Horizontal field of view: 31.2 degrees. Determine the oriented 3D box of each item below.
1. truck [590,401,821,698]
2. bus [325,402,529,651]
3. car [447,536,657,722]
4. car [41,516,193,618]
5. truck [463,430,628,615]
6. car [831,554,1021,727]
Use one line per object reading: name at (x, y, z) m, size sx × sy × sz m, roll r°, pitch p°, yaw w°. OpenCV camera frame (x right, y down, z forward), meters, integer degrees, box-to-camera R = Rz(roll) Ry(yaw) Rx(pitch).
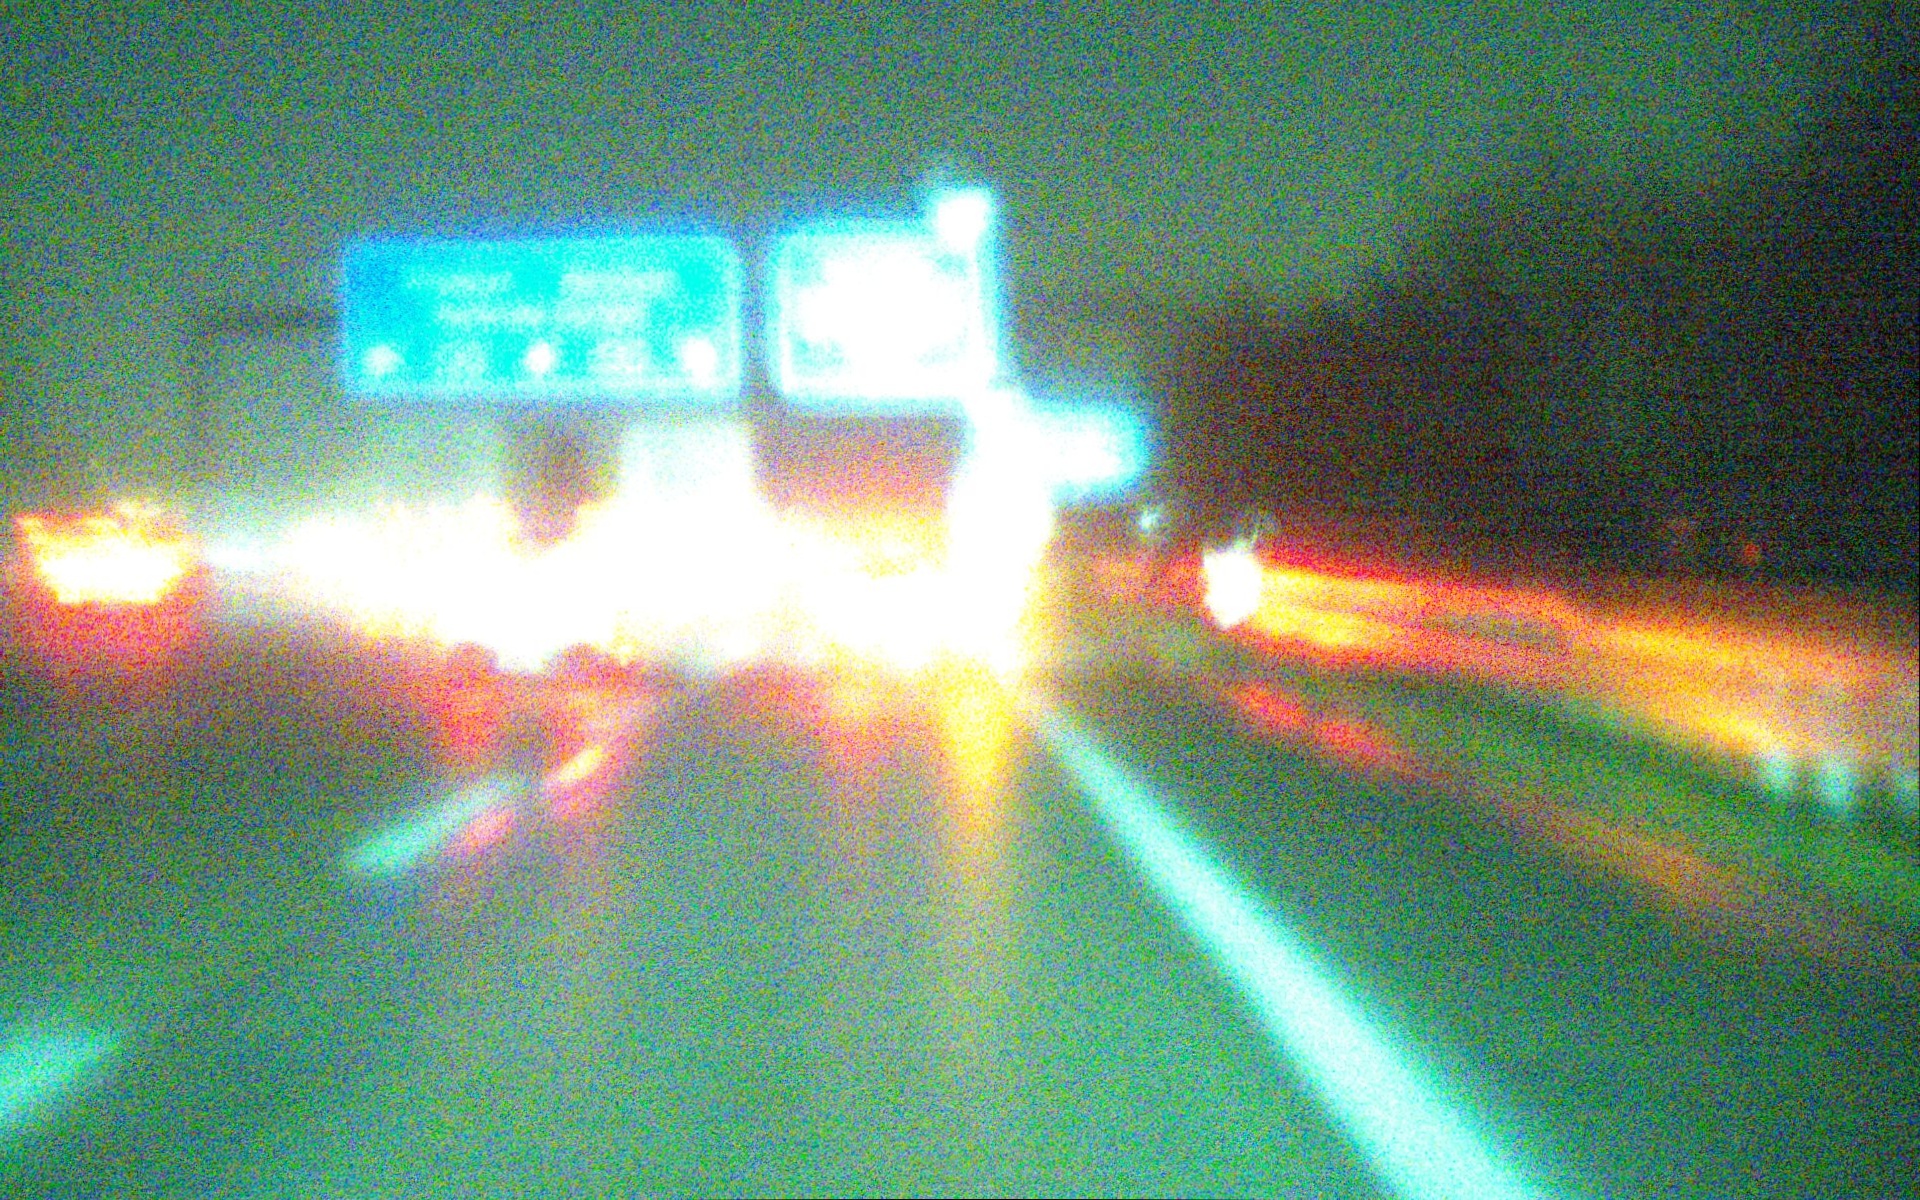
truck at (-5.123, -1.024, 71.842) m, size 4.210 × 5.629 × 11.468 m, roll 1°, pitch 0°, yaw -2°
bus at (-10.406, -1.397, 68.194) m, size 3.096 × 4.492 × 10.915 m, roll 1°, pitch 1°, yaw -4°
car at (-4.690, 0.297, 40.085) m, size 2.125 × 2.007 × 4.646 m, roll 1°, pitch 1°, yaw -3°
car at (-13.880, -0.547, 56.822) m, size 1.993 × 1.590 × 4.001 m, roll 1°, pitch 1°, yaw -7°
truck at (-13.326, -2.451, 111.731) m, size 4.210 × 5.629 × 11.468 m, roll 1°, pitch 0°, yaw -2°
car at (-0.397, 0.413, 38.429) m, size 1.993 × 1.801 × 4.000 m, roll 1°, pitch 1°, yaw -1°
